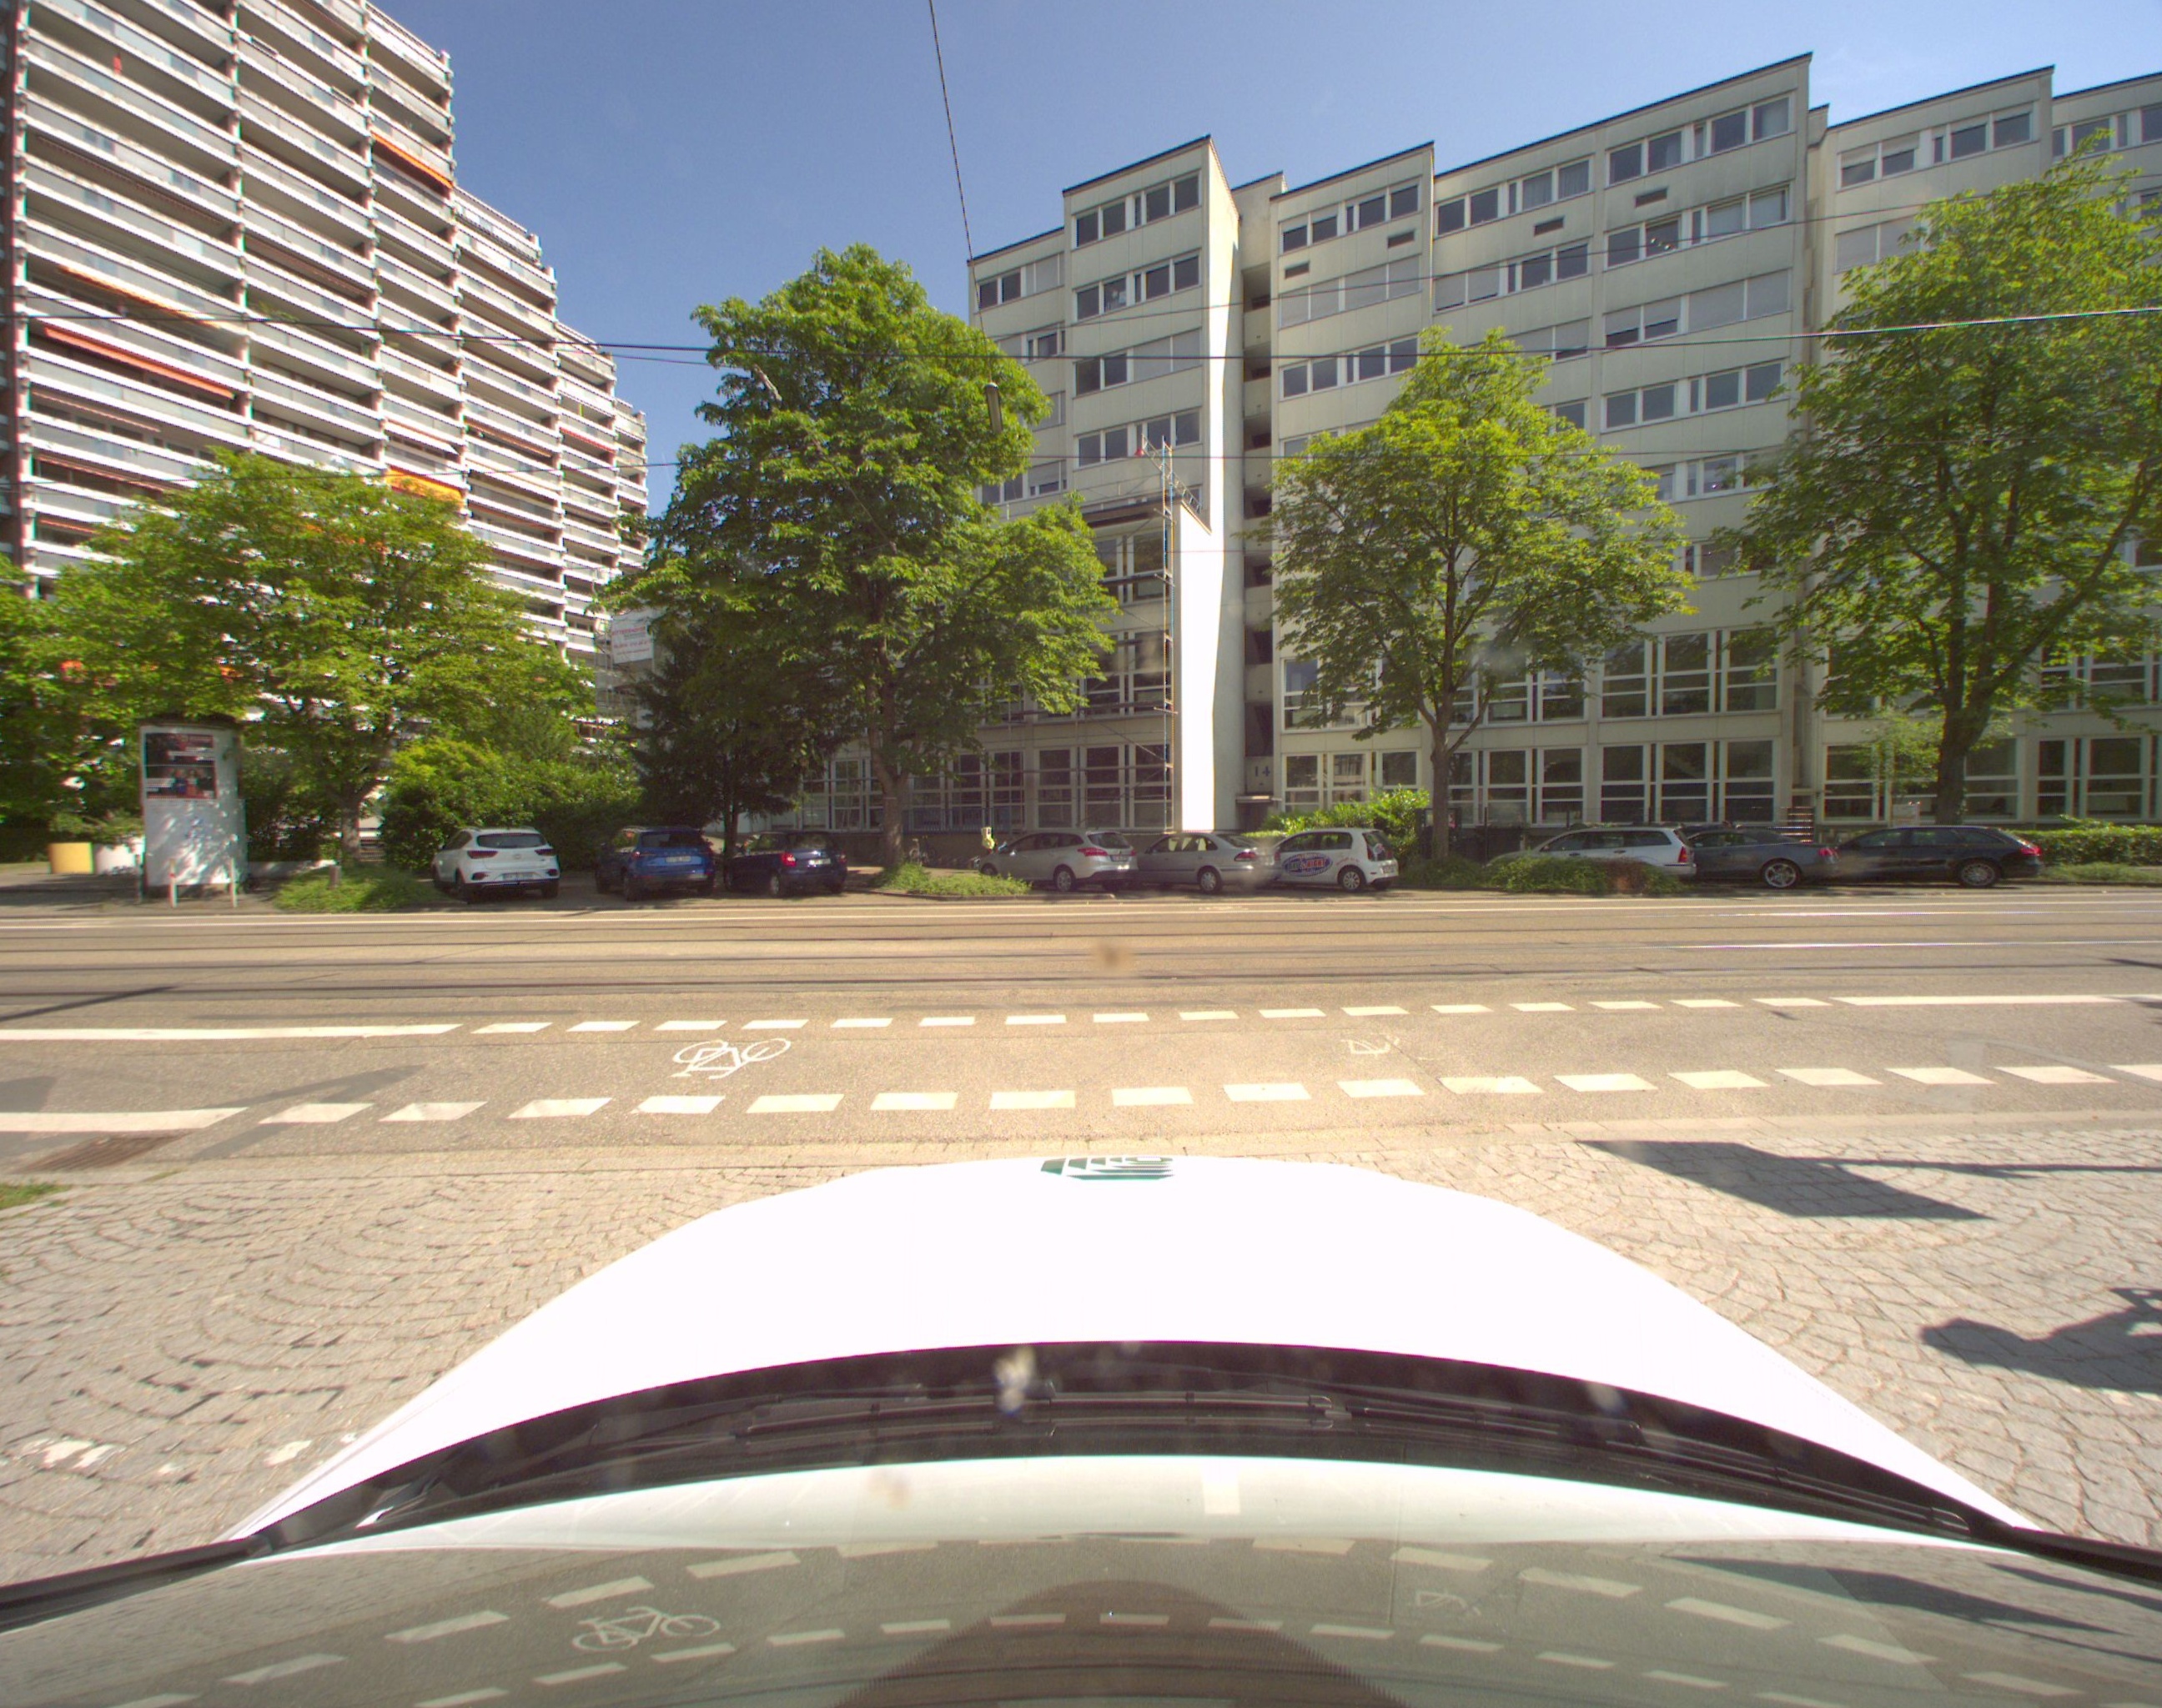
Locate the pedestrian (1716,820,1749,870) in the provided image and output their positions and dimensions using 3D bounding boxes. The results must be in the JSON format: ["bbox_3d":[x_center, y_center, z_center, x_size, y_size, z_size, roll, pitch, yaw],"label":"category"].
[{"bbox_3d":[19.074,-0.271,23.850,0.618,1.460,0.424,-1,1,-4],"label":"pedestrian"}]

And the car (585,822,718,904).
[{"bbox_3d":[-10.037,0.112,18.901,1.790,1.622,3.899,-3,4,-42],"label":"car"}]

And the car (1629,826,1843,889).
[{"bbox_3d":[15.644,0.033,19.586,3.896,1.357,1.568,1,2,44],"label":"car"}]

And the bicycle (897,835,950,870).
[{"bbox_3d":[-5.193,-0.070,26.967,0.735,1.085,2.214,0,2,18],"label":"bicycle"}]

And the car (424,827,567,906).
[{"bbox_3d":[-13.456,0.208,18.633,3.895,1.606,1.831,1,2,42],"label":"car"}]

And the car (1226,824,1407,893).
[{"bbox_3d":[5.597,0.074,19.678,1.623,1.486,3.896,-2,2,-45],"label":"car"}]

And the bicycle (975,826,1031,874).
[{"bbox_3d":[-2.467,-0.158,26.103,0.655,1.453,2.103,0,2,30],"label":"bicycle"}]

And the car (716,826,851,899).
[{"bbox_3d":[-6.973,0.139,18.975,3.415,1.530,1.586,1,2,44],"label":"car"}]

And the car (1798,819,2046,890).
[{"bbox_3d":[19.425,-0.036,19.060,3.896,1.486,1.568,1,2,44],"label":"car"}]

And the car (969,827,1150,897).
[{"bbox_3d":[-0.612,0.112,19.590,4.380,1.486,1.795,1,2,44],"label":"car"}]

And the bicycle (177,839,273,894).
[{"bbox_3d":[-21.094,0.306,20.093,1.614,1.308,0.546,-1,1,-7],"label":"bicycle"}]

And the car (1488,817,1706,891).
[{"bbox_3d":[12.399,-0.037,19.745,4.289,1.604,1.568,1,1,41],"label":"car"}]

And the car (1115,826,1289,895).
[{"bbox_3d":[2.796,0.088,19.394,1.622,1.486,3.897,-2,2,-44],"label":"car"}]
